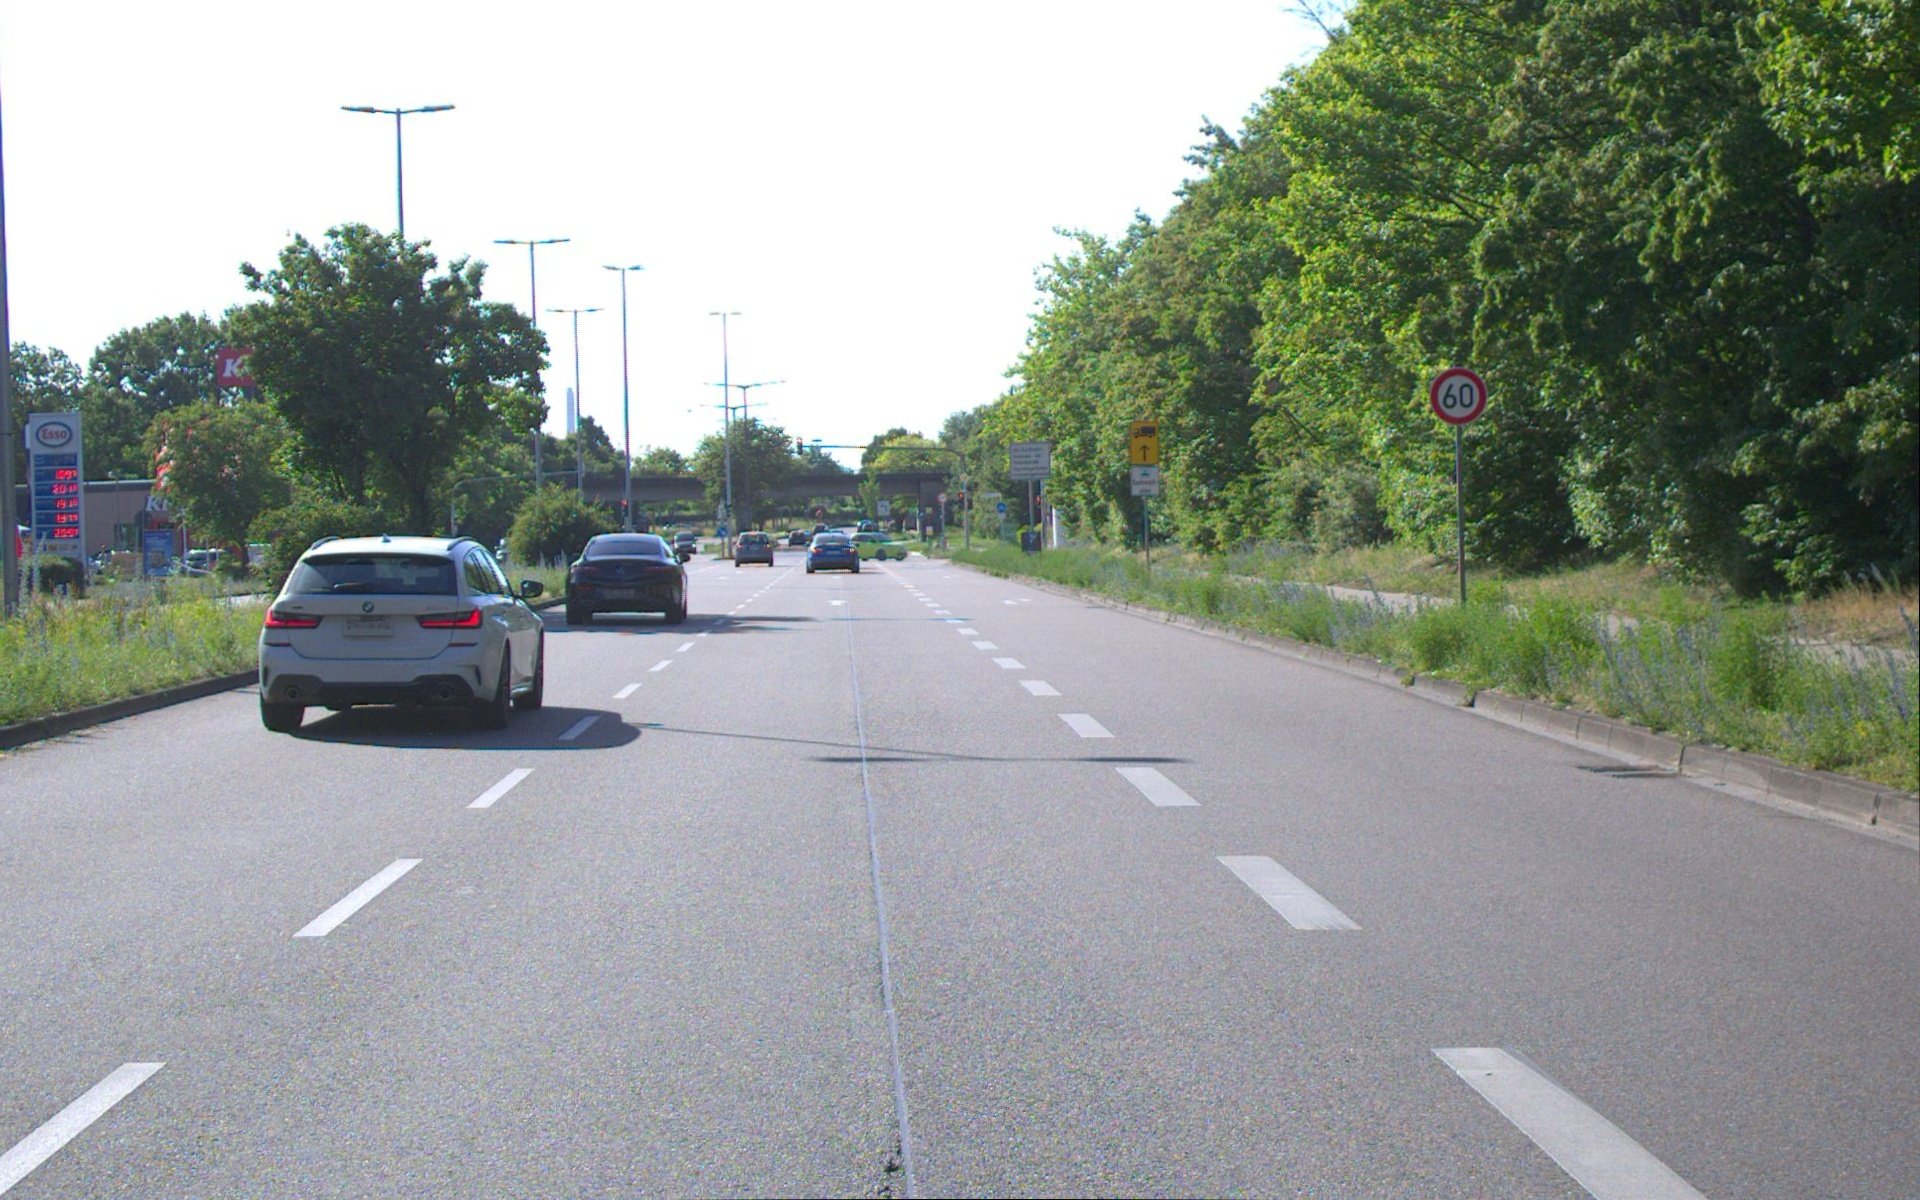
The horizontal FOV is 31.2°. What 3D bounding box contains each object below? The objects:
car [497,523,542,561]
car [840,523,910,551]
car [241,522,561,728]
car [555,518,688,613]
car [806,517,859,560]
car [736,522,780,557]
[{"bbox_3d":[-22.563,-3.000,176.287,1.739,1.796,4.672,-4,1,-2],"label":"car"},{"bbox_3d":[-4.509,-3.328,181.661,3.457,1.392,1.438,0,2,31],"label":"car"},{"bbox_3d":[-4.296,0.134,27.078,1.861,1.450,4.548,0,2,-1],"label":"car"},{"bbox_3d":[-5.480,-0.590,56.059,1.861,1.450,4.548,-1,1,-2],"label":"car"},{"bbox_3d":[-4.646,-2.257,125.474,1.861,1.494,4.337,-1,1,-2],"label":"car"},{"bbox_3d":[-9.208,-2.779,156.867,1.861,1.560,4.548,-1,1,-2],"label":"car"}]
